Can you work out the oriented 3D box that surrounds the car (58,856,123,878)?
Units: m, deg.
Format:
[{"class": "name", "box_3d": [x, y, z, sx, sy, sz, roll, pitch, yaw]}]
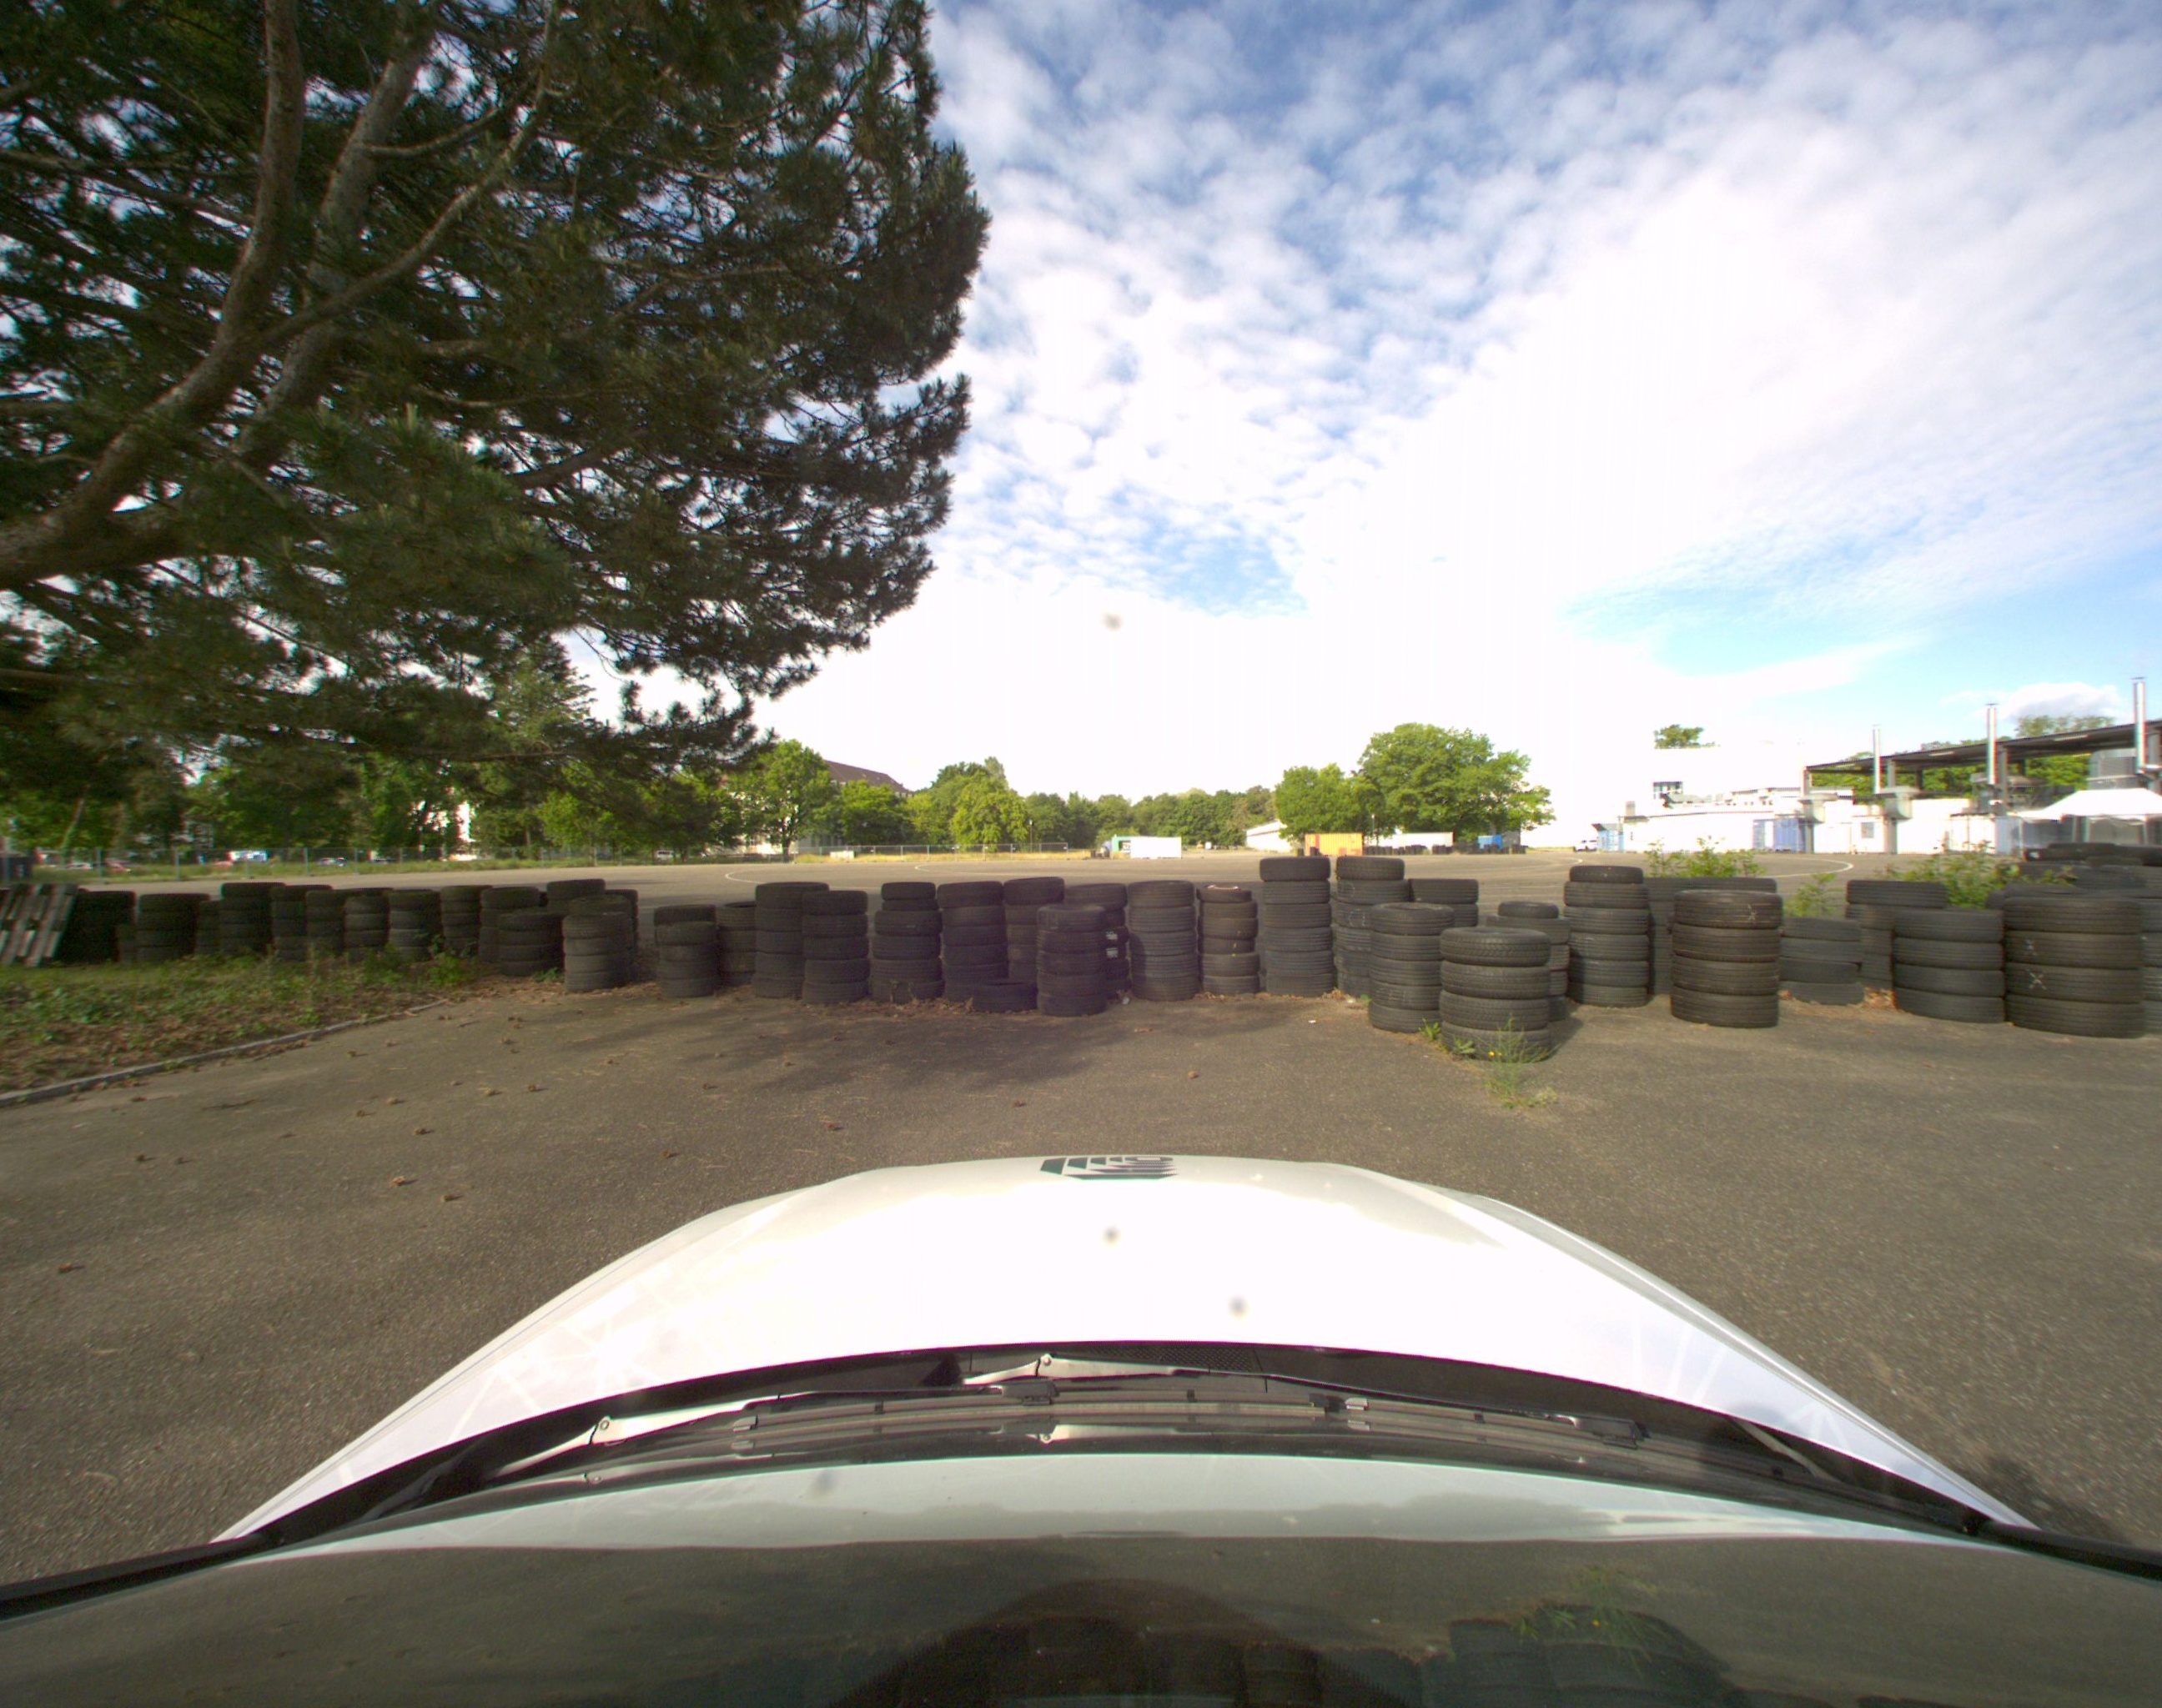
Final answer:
[{"class": "car", "box_3d": [-87.245, 1.140, 71.726, 3.959, 1.749, 2.007, -1, 1, 13]}]

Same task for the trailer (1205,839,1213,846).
[{"class": "trailer", "box_3d": [38.674, -3.575, 246.041, 2.047, 2.013, 4.008, -1, 1, 6]}]

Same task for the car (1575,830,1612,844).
[{"class": "car", "box_3d": [59.678, -1.929, 94.925, 1.860, 1.564, 4.555, -1, 1, 6]}]

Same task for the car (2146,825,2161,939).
[{"class": "car", "box_3d": [15.656, 0.348, 9.358, 3.958, 1.464, 1.735, -1, 1, 14]}]

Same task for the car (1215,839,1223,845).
[{"class": "car", "box_3d": [41.293, -3.465, 244.075, 1.984, 1.749, 4.006, -1, 1, 5]}]

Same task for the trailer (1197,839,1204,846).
[{"class": "trailer", "box_3d": [36.415, -3.600, 247.658, 1.983, 2.013, 4.007, -1, 1, 6]}]
